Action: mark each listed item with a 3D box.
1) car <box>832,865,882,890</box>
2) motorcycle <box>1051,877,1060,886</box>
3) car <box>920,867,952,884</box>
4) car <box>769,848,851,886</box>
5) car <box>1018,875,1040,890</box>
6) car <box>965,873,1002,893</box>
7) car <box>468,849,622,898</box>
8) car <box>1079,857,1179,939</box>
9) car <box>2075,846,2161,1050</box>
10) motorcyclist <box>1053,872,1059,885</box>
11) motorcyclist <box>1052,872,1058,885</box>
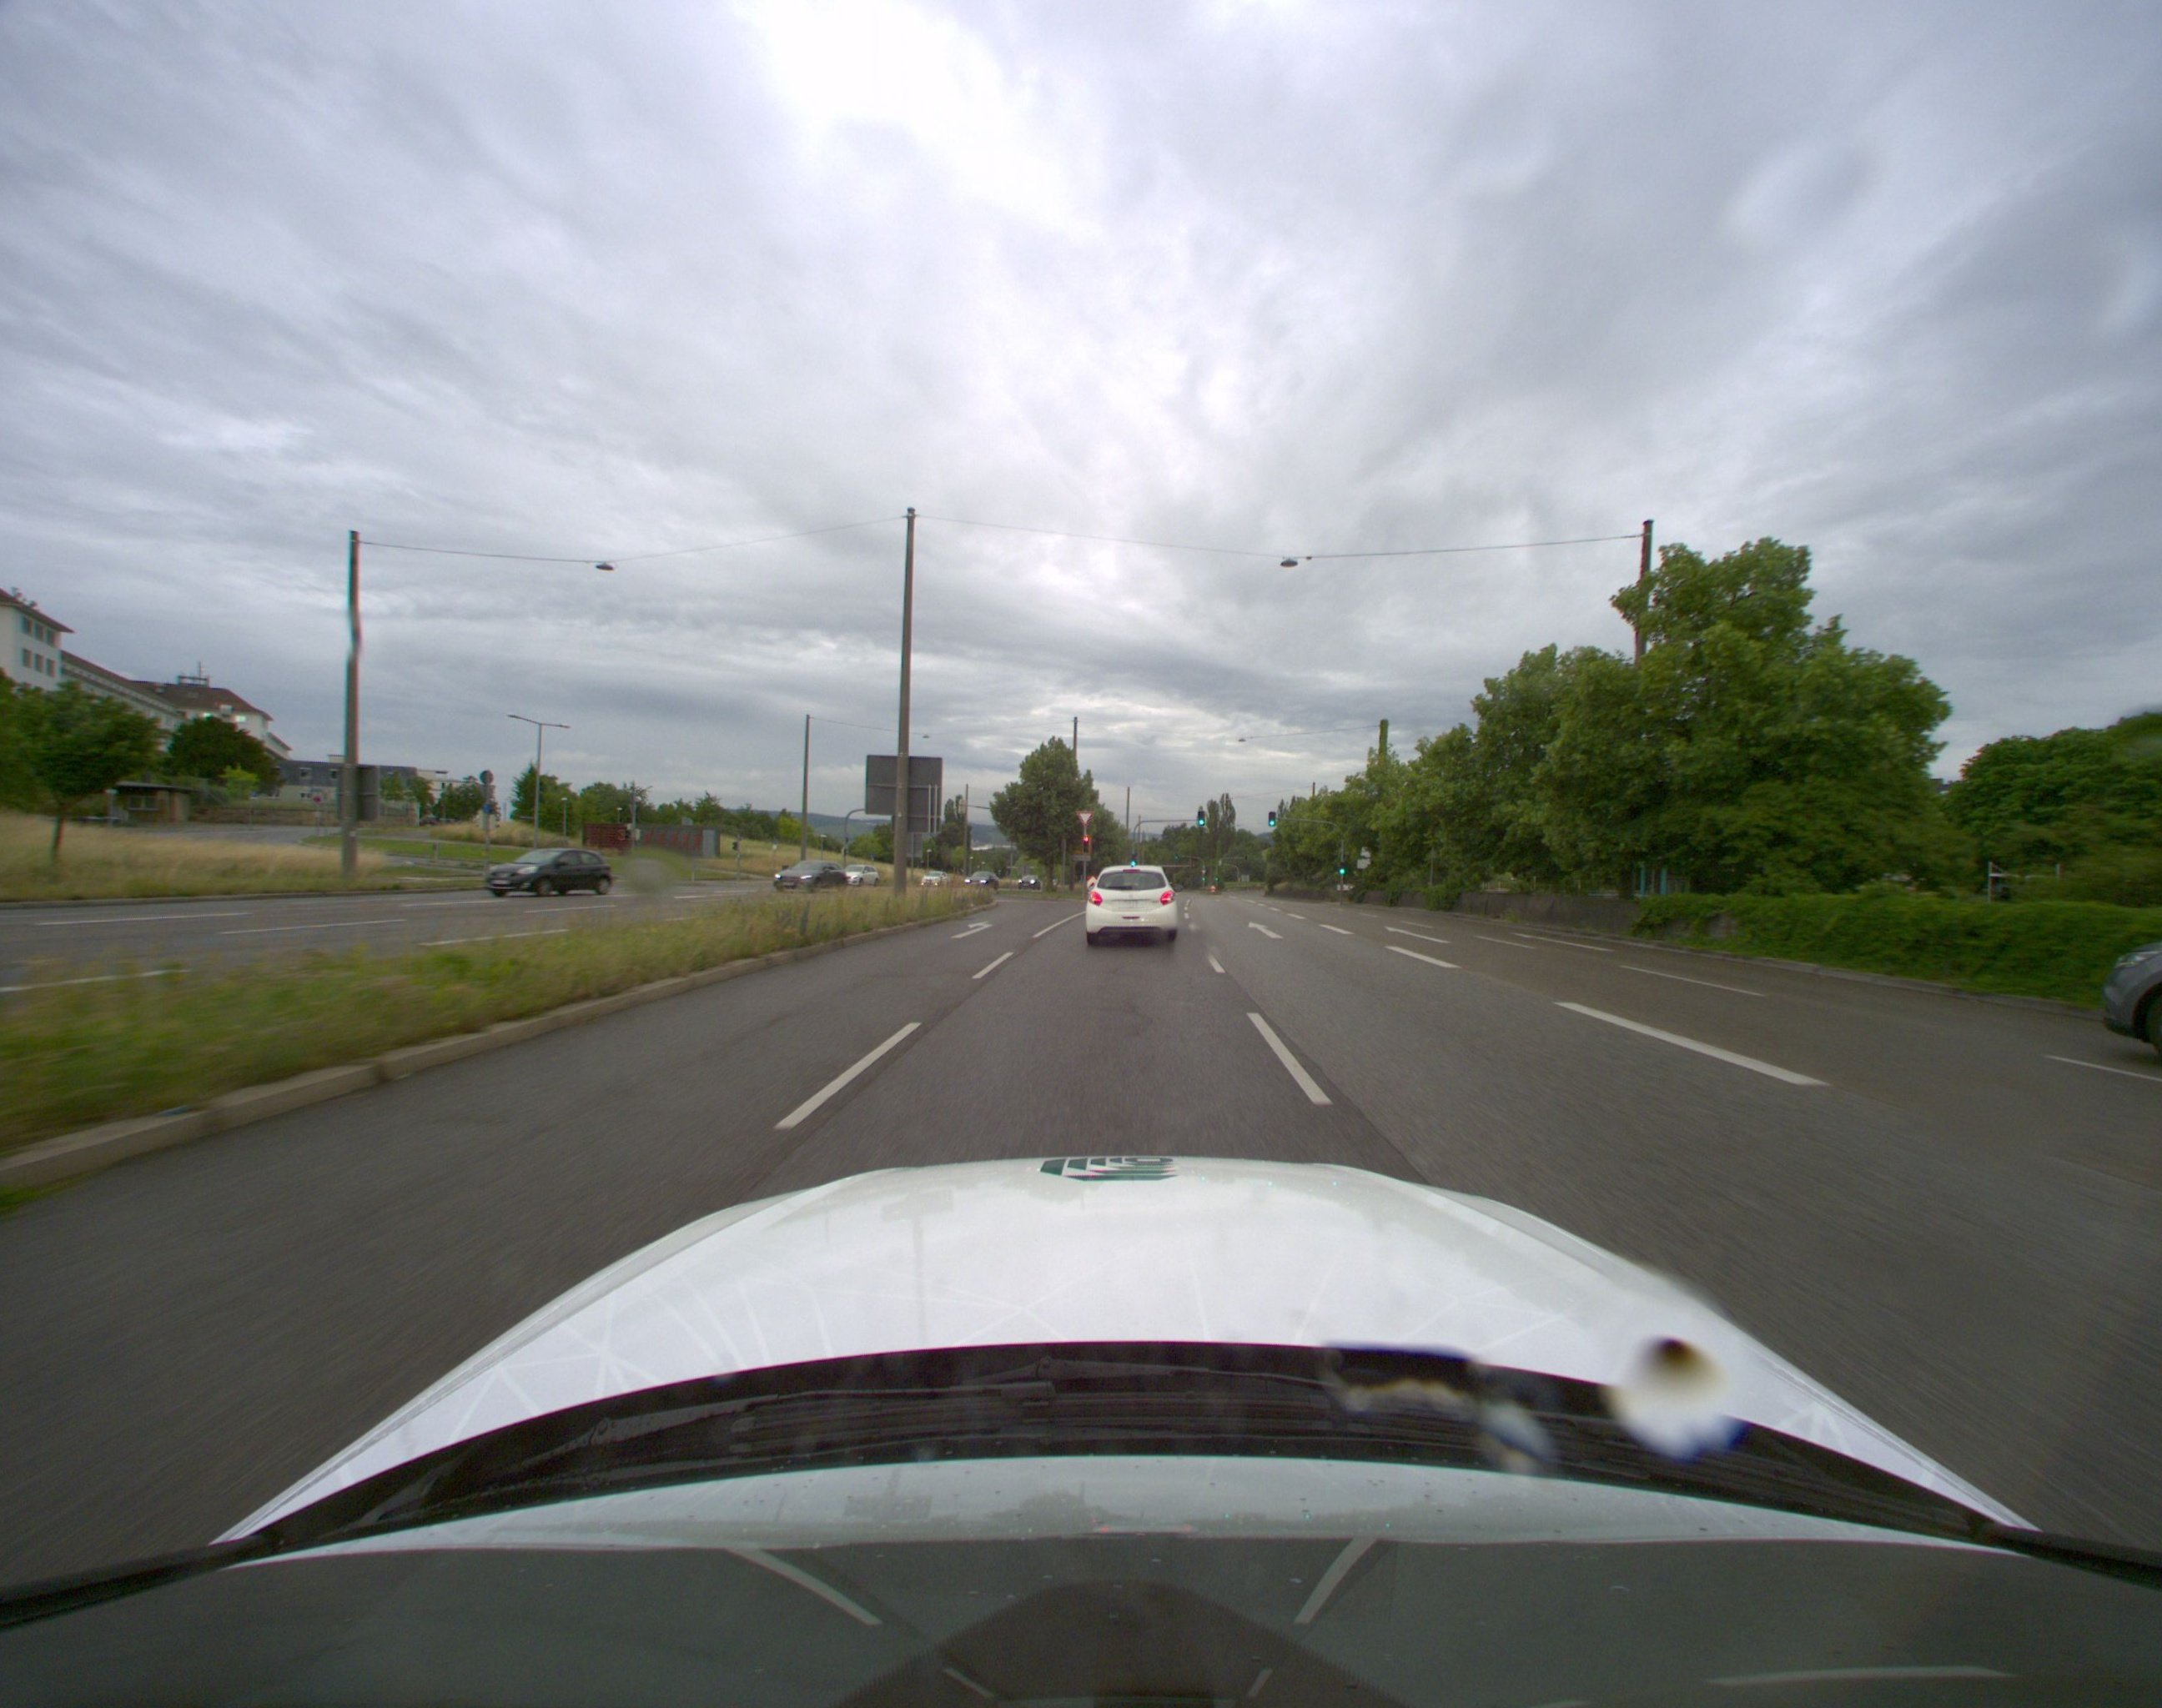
[{"bbox_3d":[-15.518,1.665,56.557,1.757,1.648,4.186,1,-3,8],"label":"car"},{"bbox_3d":[-3.077,3.300,97.548,0.613,1.050,2.507,1,-1,7],"label":"motorcycle"},{"bbox_3d":[-13.069,1.960,73.518,1.642,1.463,3.781,1,-3,8],"label":"car"},{"bbox_3d":[-11.865,0.635,35.986,1.757,1.518,4.008,1,-3,8],"label":"car"},{"bbox_3d":[-5.364,2.974,84.317,1.529,1.504,3.669,1,-3,8],"label":"car"},{"bbox_3d":[-7.661,2.271,64.416,1.741,1.504,4.473,1,-2,8],"label":"car"},{"bbox_3d":[-16.720,0.655,25.684,1.757,1.384,4.008,1,-3,8],"label":"car"},{"bbox_3d":[1.069,0.834,16.214,1.699,1.440,3.698,-1,-2,8],"label":"car"},{"bbox_3d":[9.540,0.822,4.826,1.718,1.649,4.628,3,1,3],"label":"car"},{"bbox_3d":[-3.015,2.946,97.892,0.609,1.581,0.583,1,-1,7],"label":"motorcyclist"},{"bbox_3d":[-3.116,2.914,97.162,0.579,1.596,0.644,1,-1,7],"label":"motorcyclist"}]
